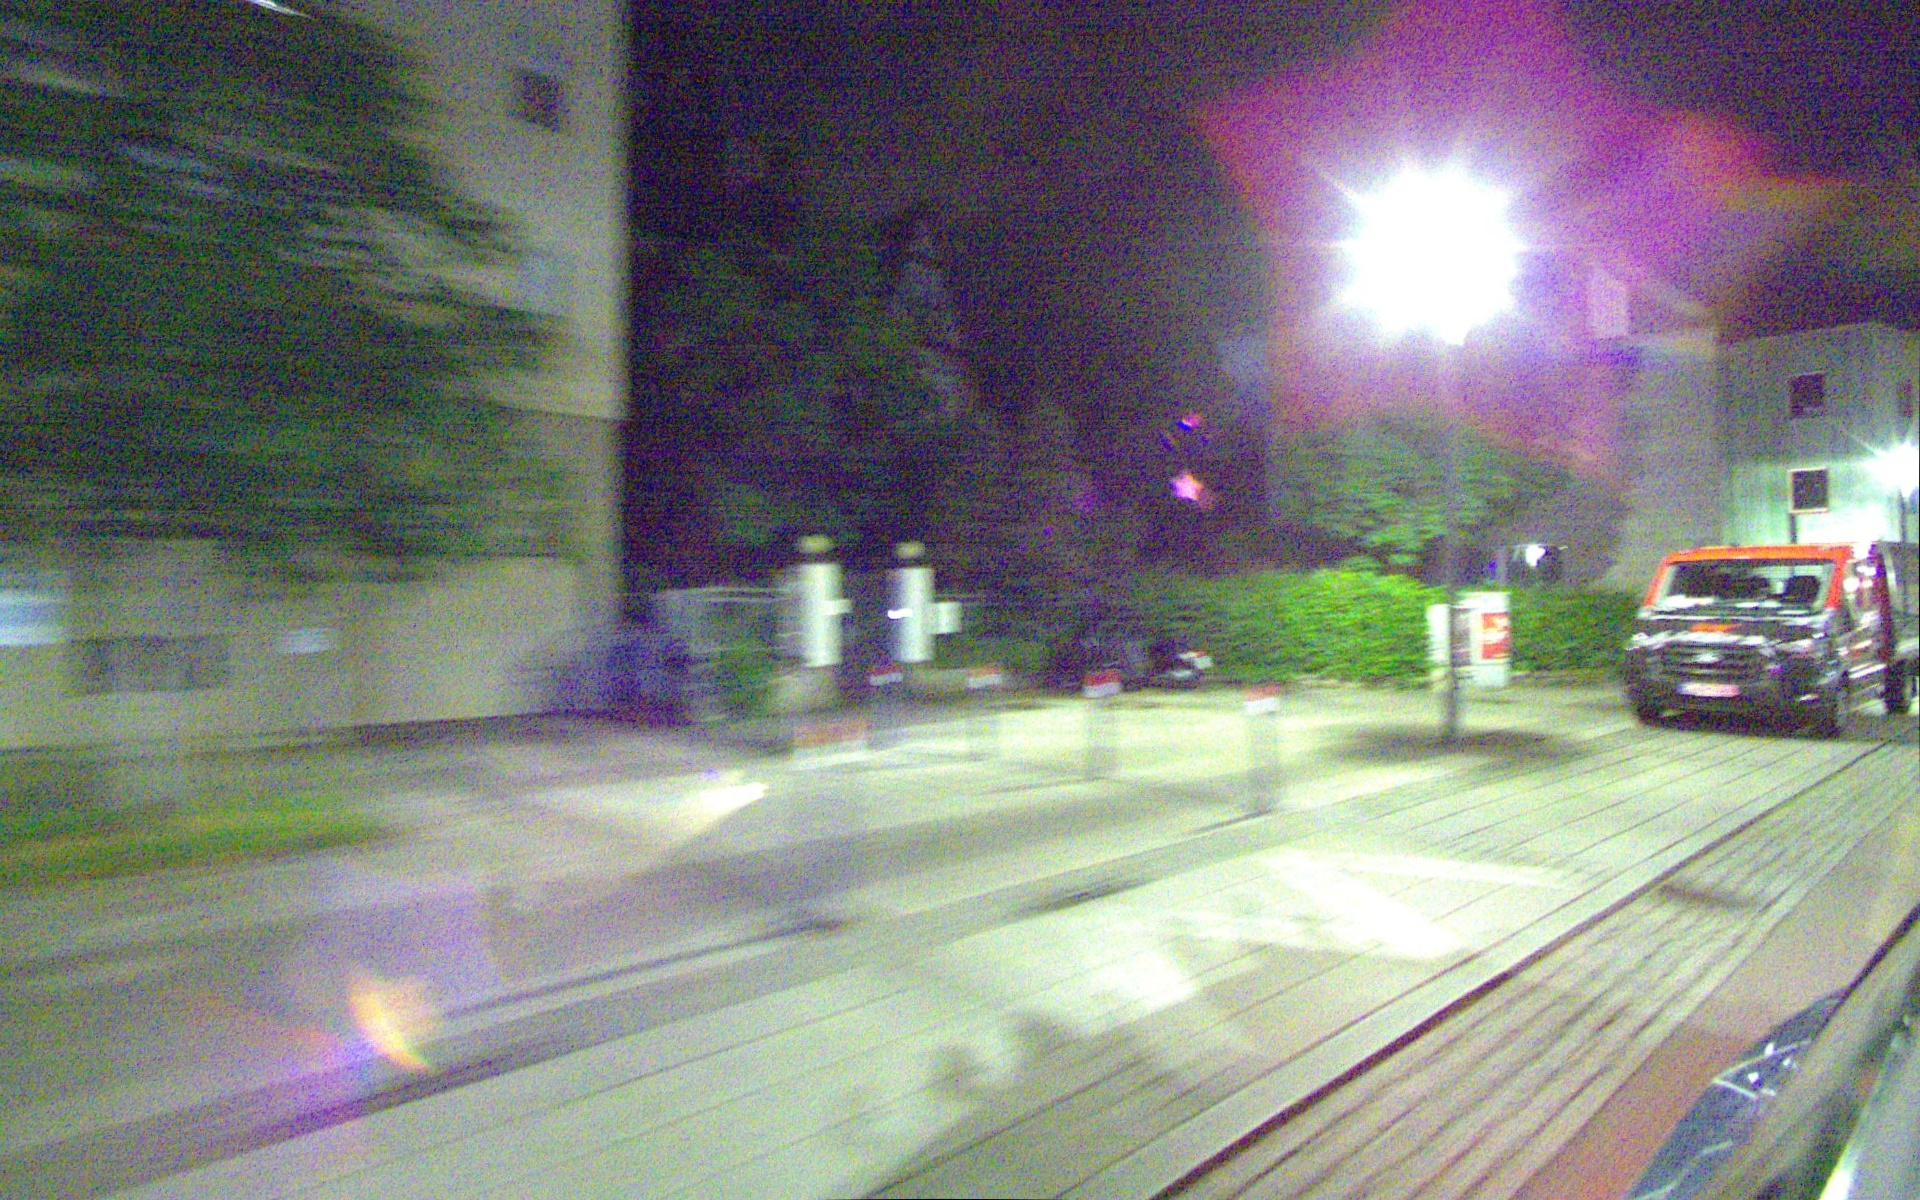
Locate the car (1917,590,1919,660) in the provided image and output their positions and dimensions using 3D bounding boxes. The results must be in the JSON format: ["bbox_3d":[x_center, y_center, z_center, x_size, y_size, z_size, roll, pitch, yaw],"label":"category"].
[{"bbox_3d":[22.696,0.546,22.209,3.983,1.510,1.795,0,1,-37],"label":"car"}]

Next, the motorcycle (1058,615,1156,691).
[{"bbox_3d":[2.425,0.848,16.870,0.551,1.201,1.631,0,-1,-43],"label":"motorcycle"}]

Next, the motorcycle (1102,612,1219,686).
[{"bbox_3d":[3.398,0.812,17.333,0.551,1.201,2.018,0,-1,-43],"label":"motorcycle"}]

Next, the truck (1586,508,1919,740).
[{"bbox_3d":[10.429,0.240,12.905,5.675,2.341,2.342,0,0,-38],"label":"truck"}]
